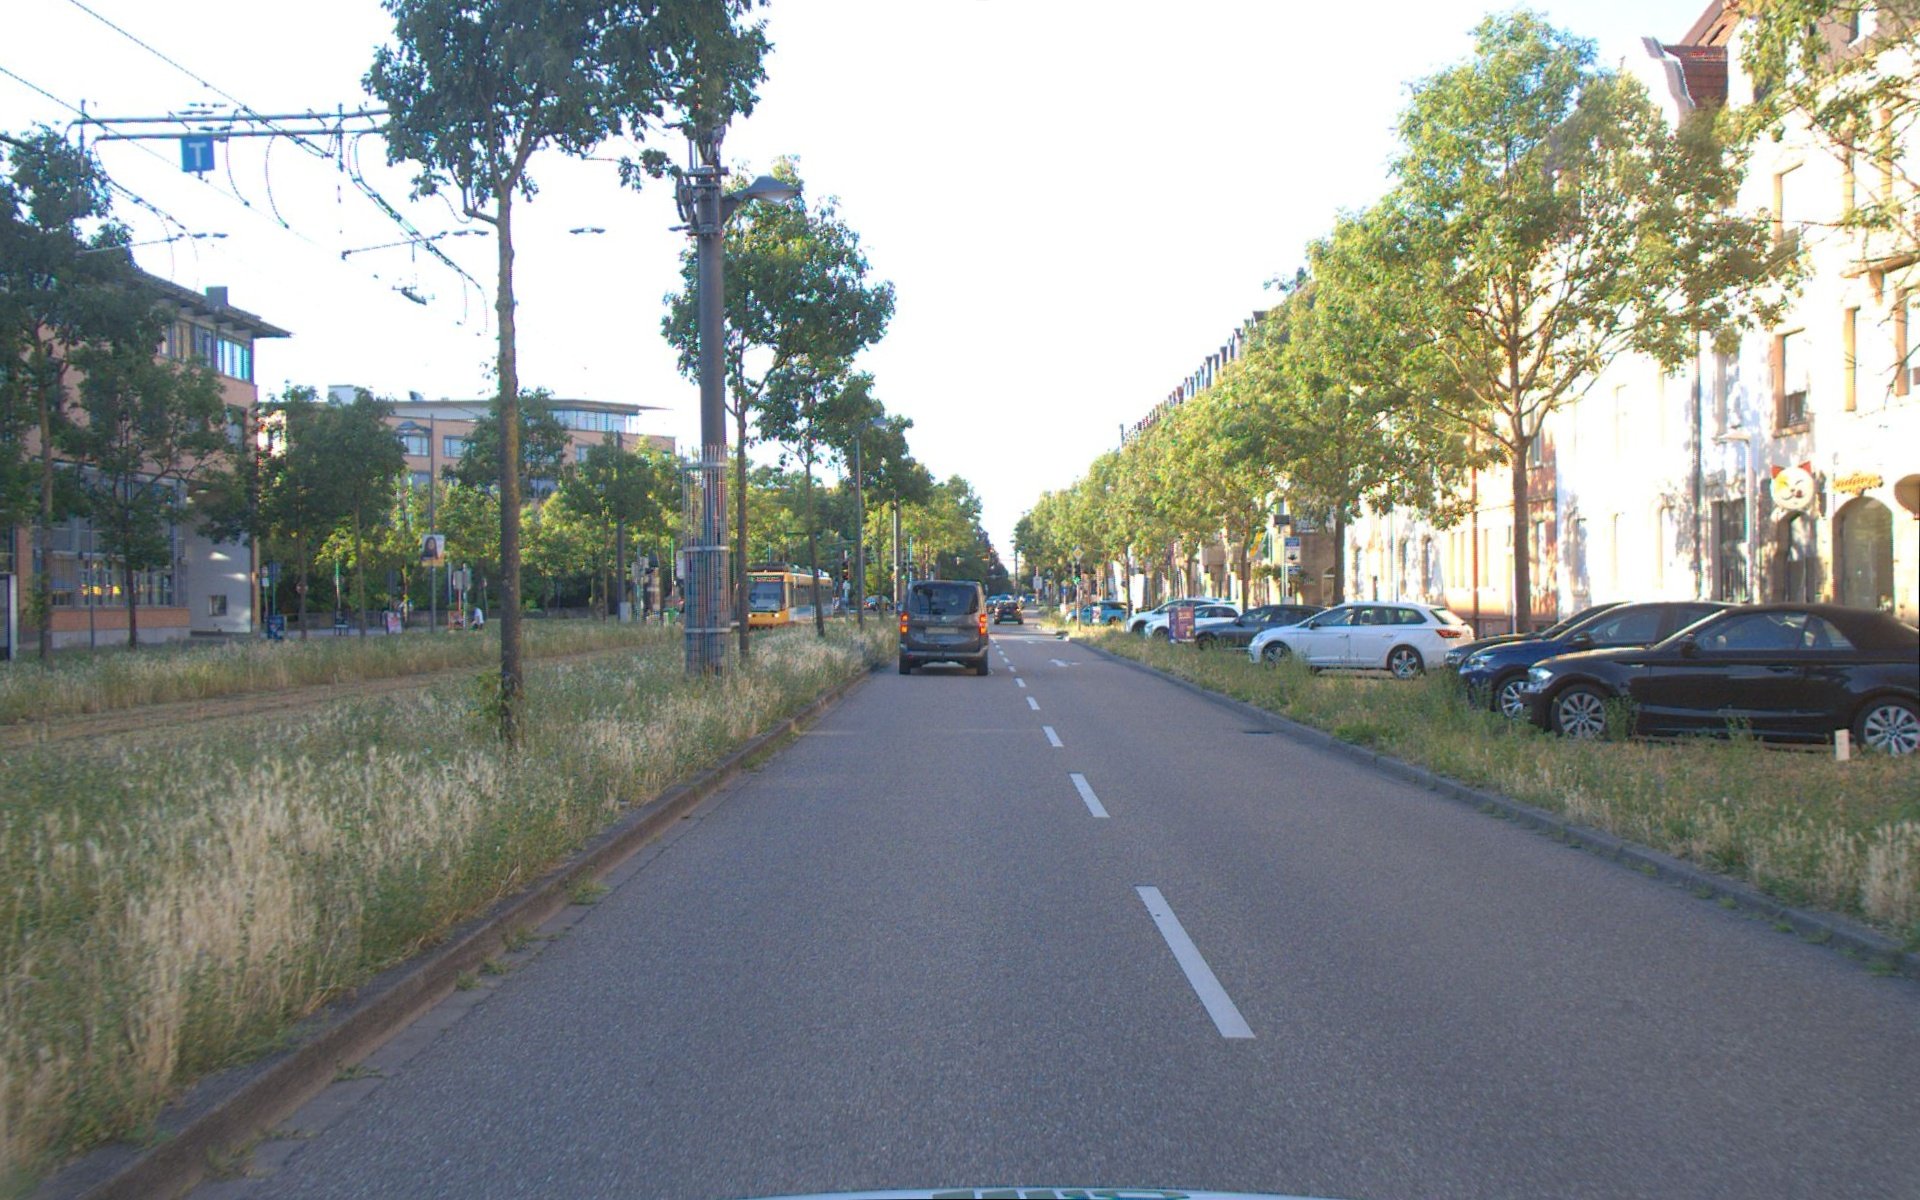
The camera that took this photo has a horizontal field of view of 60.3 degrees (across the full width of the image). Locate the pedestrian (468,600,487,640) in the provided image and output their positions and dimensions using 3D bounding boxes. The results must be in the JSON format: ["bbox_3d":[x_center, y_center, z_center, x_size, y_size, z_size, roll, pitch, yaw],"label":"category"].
[{"bbox_3d":[-20.987,0.881,71.936,0.675,1.727,0.828,0,0,-7],"label":"pedestrian"}]

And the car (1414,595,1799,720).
[{"bbox_3d":[8.362,0.671,21.555,4.349,1.441,1.877,1,0,37],"label":"car"}]

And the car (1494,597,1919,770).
[{"bbox_3d":[7.587,0.723,15.887,4.342,1.448,1.917,1,0,33],"label":"car"}]

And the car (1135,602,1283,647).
[{"bbox_3d":[8.278,0.808,55.037,4.457,1.424,2.026,0,-1,31],"label":"car"}]

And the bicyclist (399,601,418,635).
[{"bbox_3d":[-27.891,0.920,83.606,0.681,1.703,0.825,0,0,0],"label":"bicyclist"}]

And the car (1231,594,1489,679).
[{"bbox_3d":[7.752,0.674,32.239,4.553,1.536,1.840,0,0,36],"label":"car"}]

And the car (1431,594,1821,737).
[{"bbox_3d":[7.572,0.685,18.852,3.963,1.462,1.724,0,-1,29],"label":"car"}]

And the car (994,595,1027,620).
[{"bbox_3d":[3.131,0.462,103.588,1.952,1.537,4.000,1,0,0],"label":"car"}]

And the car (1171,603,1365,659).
[{"bbox_3d":[7.821,0.770,42.141,4.487,1.372,1.891,0,0,33],"label":"car"}]

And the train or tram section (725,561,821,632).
[{"bbox_3d":[-9.927,-0.143,89.747,3.360,3.490,15.028,0,0,1],"label":"train or tram section"}]

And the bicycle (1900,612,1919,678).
[{"bbox_3d":[16.473,0.764,27.328,0.576,1.097,2.228,-2,0,0],"label":"bicycle"}]

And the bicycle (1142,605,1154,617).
[{"bbox_3d":[15.615,0.900,137.328,0.854,0.932,2.085,-2,0,2],"label":"bicycle"}]

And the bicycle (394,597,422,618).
[{"bbox_3d":[-27.890,0.387,83.582,0.695,1.070,2.094,0,0,1],"label":"bicycle"}]

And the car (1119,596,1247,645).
[{"bbox_3d":[8.211,0.727,61.060,4.344,1.721,1.909,0,0,36],"label":"car"}]

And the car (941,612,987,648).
[{"bbox_3d":[0.164,1.338,75.978,1.953,1.537,3.998,1,0,-2],"label":"car"}]

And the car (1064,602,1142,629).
[{"bbox_3d":[8.264,0.871,95.680,4.198,1.548,1.842,0,0,33],"label":"car"}]

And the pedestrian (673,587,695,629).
[{"bbox_3d":[-13.614,0.379,81.483,0.915,2.049,0.957,0,0,0],"label":"pedestrian"}]

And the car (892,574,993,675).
[{"bbox_3d":[-0.302,0.488,34.866,1.952,1.934,4.299,1,0,1],"label":"car"}]
